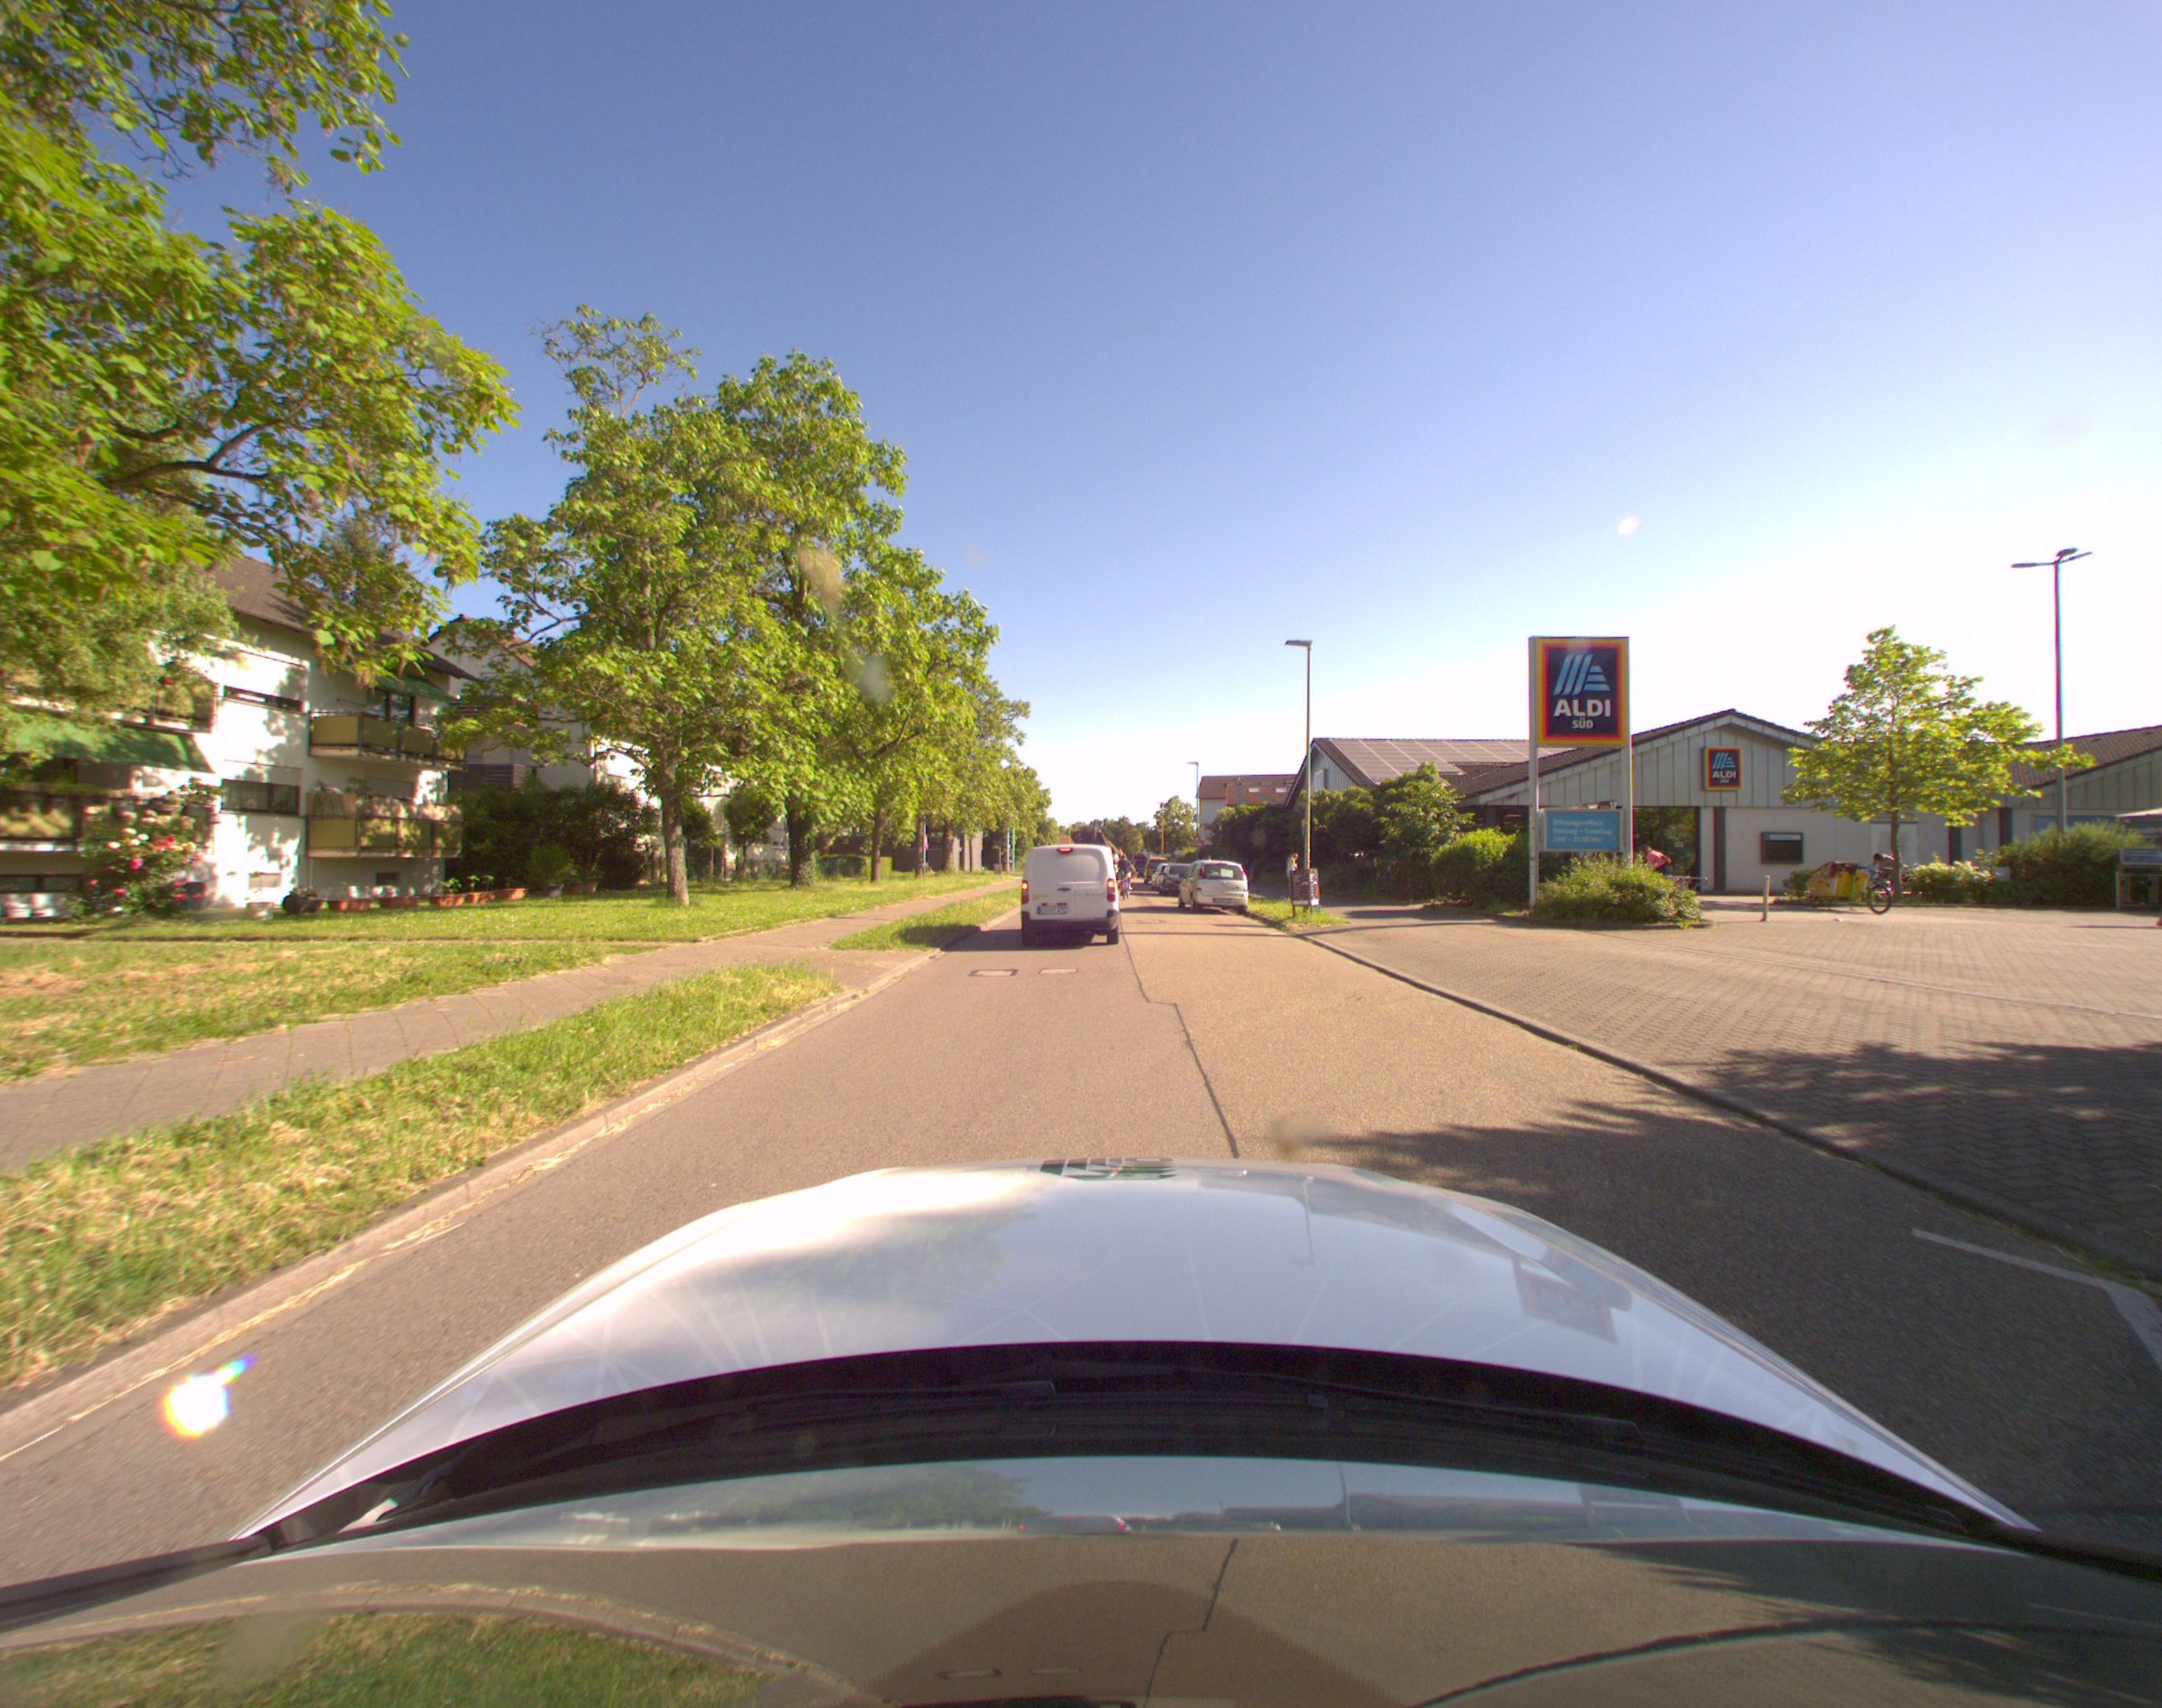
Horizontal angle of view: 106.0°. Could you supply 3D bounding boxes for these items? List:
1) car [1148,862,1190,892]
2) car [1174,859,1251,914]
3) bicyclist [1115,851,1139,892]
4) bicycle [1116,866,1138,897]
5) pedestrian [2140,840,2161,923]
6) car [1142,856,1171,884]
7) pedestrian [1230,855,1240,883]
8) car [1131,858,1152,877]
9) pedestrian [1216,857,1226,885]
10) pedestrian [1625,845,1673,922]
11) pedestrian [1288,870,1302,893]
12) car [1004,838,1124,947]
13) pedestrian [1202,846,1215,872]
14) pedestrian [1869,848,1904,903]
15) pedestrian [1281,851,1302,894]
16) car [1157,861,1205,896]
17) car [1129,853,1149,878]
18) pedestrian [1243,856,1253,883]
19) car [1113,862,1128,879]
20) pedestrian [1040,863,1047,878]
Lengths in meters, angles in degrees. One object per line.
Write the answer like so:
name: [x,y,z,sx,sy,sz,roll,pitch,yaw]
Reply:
car: [4.598,1.187,42.916,1.820,1.452,4.000,1,-1,1]
car: [4.084,0.987,25.858,1.675,1.599,4.025,1,-1,-2]
bicyclist: [1.804,0.704,32.121,0.902,1.584,0.966,1,-2,0]
bicycle: [1.803,1.068,32.065,0.784,1.138,2.280,0,0,1]
pedestrian: [21.978,0.556,16.234,0.669,1.656,0.828,0,-1,1]
car: [5.029,1.062,54.687,1.717,1.837,4.003,1,-1,3]
pedestrian: [9.242,0.887,48.851,0.564,1.637,0.547,0,-1,7]
car: [5.973,1.398,81.184,1.798,1.786,4.000,2,-2,1]
pedestrian: [8.052,0.964,46.743,0.564,1.637,0.547,0,-1,7]
pedestrian: [12.337,0.622,17.708,0.685,1.631,0.781,0,-1,23]
pedestrian: [9.316,1.196,35.413,0.529,0.980,0.812,0,-1,10]
car: [-0.187,0.677,16.239,1.985,1.882,4.293,0,0,4]
pedestrian: [9.351,0.355,59.721,0.792,1.861,0.873,1,-1,-6]
pedestrian: [24.040,0.634,24.299,0.781,1.618,0.685,1,-1,-42]
pedestrian: [8.942,0.783,34.579,0.793,1.782,0.811,0,-1,10]
car: [4.443,1.049,36.793,1.800,1.443,4.365,1,0,2]
car: [6.302,1.326,88.614,1.860,2.563,4.767,2,-2,1]
pedestrian: [9.986,0.913,48.799,0.564,1.637,0.547,0,-1,7]
car: [5.232,2.226,107.767,1.798,2.069,4.000,2,-2,1]
pedestrian: [-3.823,1.682,83.084,0.504,1.446,0.643,0,-1,35]
